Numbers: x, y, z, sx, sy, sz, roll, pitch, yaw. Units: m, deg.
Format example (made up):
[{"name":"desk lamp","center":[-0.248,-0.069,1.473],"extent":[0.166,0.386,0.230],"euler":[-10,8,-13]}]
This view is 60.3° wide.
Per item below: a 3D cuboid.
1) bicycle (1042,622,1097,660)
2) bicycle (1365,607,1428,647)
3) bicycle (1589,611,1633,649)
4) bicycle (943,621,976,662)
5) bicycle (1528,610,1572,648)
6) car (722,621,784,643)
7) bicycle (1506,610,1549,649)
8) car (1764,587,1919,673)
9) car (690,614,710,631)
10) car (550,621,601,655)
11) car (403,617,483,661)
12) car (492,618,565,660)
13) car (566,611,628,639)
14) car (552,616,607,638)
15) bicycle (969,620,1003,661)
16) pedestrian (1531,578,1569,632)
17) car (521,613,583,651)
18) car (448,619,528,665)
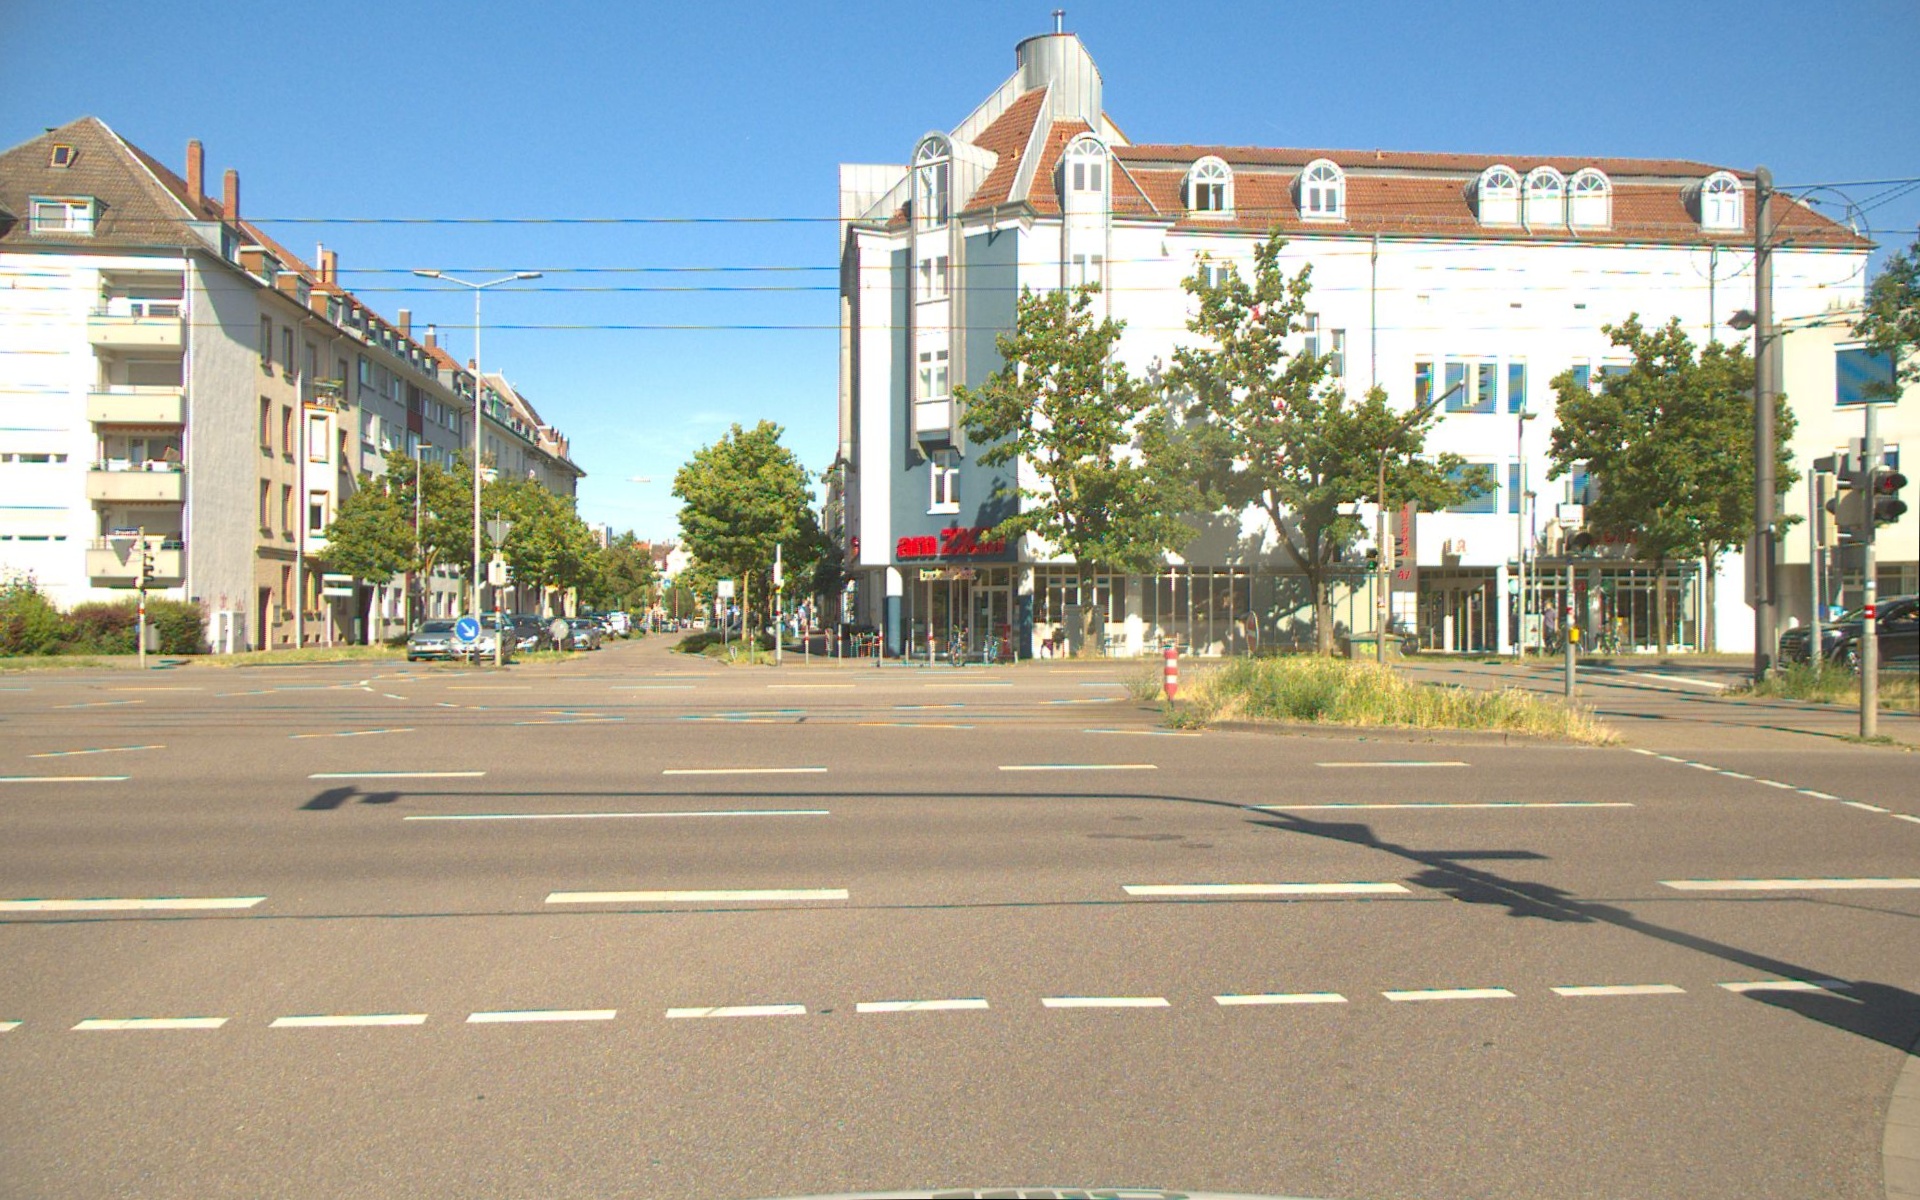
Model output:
[{"name":"bicycle","center":[3.038,1.133,45.854],"extent":[1.479,1.045,0.473],"euler":[-1,-1,5]},{"name":"bicycle","center":[13.481,0.827,51.091],"extent":[1.829,1.203,0.561],"euler":[0,-1,-10]},{"name":"bicycle","center":[20.795,0.957,52.881],"extent":[0.549,1.203,1.868],"euler":[0,-1,-4]},{"name":"bicycle","center":[-0.021,1.072,43.286],"extent":[0.464,1.045,1.509],"euler":[0,-1,-16]},{"name":"bicycle","center":[18.928,0.921,53.116],"extent":[0.549,1.203,1.867],"euler":[0,-1,-7]},{"name":"car","center":[-11.973,1.841,95.609],"extent":[3.500,1.245,1.727],"euler":[1,-2,-8]},{"name":"bicycle","center":[18.078,0.937,52.720],"extent":[0.549,1.203,1.867],"euler":[0,-1,-7]},{"name":"car","center":[18.539,0.582,32.585],"extent":[4.406,1.638,2.001],"euler":[0,-1,4]},{"name":"car","center":[-28.686,2.451,182.458],"extent":[1.955,1.787,4.514],"euler":[1,-2,-6]},{"name":"car","center":[-18.030,1.777,77.733],"extent":[1.655,1.457,4.395],"euler":[2,-1,-5]},{"name":"car","center":[-18.506,1.384,59.370],"extent":[1.654,1.457,4.397],"euler":[2,-1,-3]},{"name":"car","center":[-16.415,1.474,63.119],"extent":[1.654,1.457,4.398],"euler":[2,-1,-1]},{"name":"car","center":[-27.377,1.883,124.944],"extent":[4.421,2.049,1.996],"euler":[1,-2,-8]},{"name":"car","center":[-26.153,1.860,113.687],"extent":[3.500,1.441,1.924],"euler":[1,-2,-8]},{"name":"bicycle","center":[0.686,1.065,43.877],"extent":[0.464,1.045,1.509],"euler":[0,-1,-17]},{"name":"pedestrian","center":[19.424,0.156,54.495],"extent":[0.971,1.753,0.653],"euler":[0,-1,-7]},{"name":"car","center":[-16.946,1.338,68.882],"extent":[1.654,1.457,4.397],"euler":[2,-1,-3]},{"name":"car","center":[-16.030,1.412,56.377],"extent":[1.654,1.457,4.396],"euler":[2,-1,-3]}]
